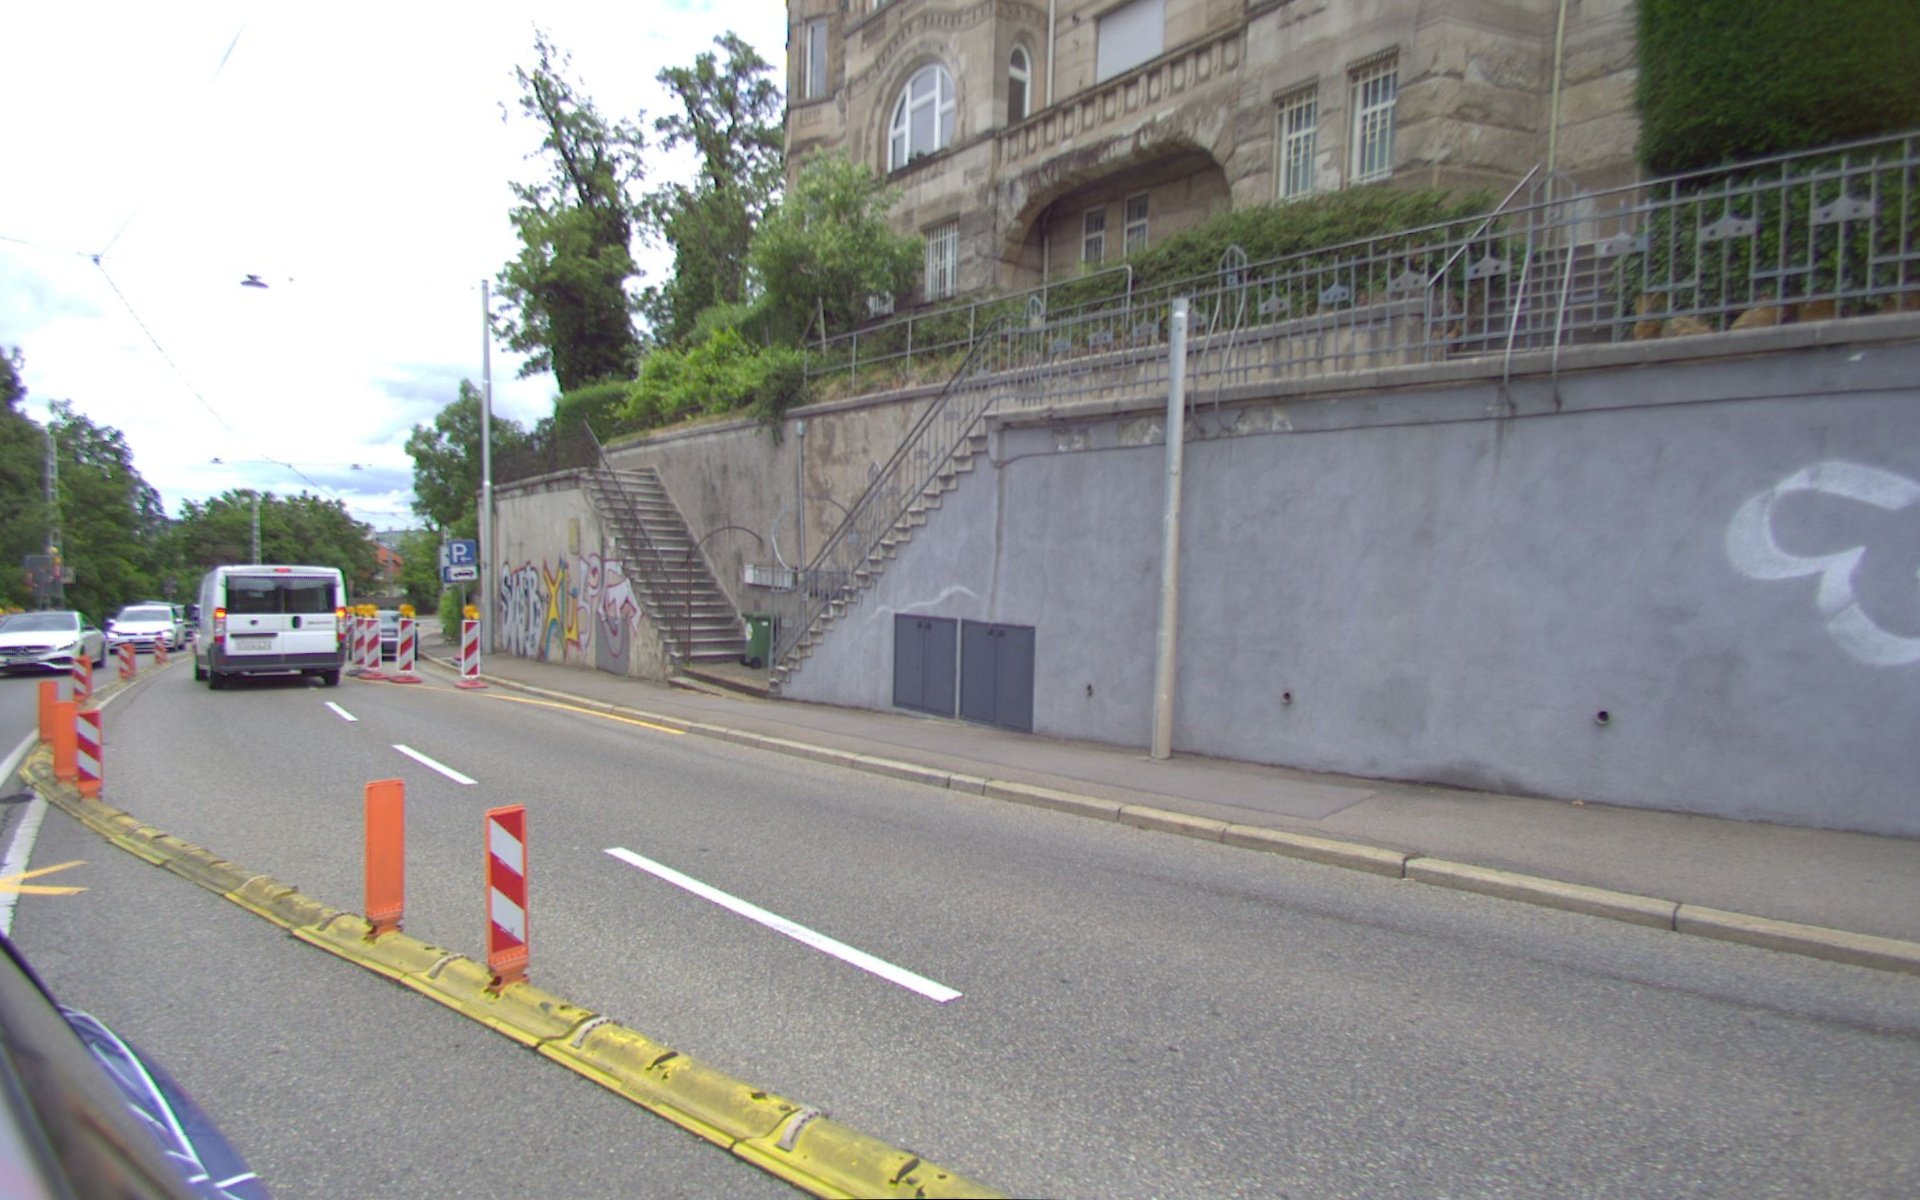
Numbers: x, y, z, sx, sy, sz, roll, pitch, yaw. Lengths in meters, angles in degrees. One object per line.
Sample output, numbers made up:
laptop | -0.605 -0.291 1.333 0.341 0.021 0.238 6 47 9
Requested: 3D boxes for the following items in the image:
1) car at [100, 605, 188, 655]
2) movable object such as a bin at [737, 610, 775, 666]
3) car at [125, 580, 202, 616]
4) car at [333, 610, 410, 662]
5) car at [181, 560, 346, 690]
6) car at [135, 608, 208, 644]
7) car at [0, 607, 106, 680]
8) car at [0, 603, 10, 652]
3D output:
car | -27.404 0.977 34.104 1.763 1.563 4.257 0 -1 -31
movable object such as a bin | -3.419 0.628 16.961 0.447 0.918 0.509 -1 0 -37
car | -42.238 -0.086 53.787 1.827 1.686 4.293 6 -2 -20
car | -17.229 1.015 29.574 1.774 1.383 4.401 2 -2 -31
car | -13.680 0.479 19.750 2.042 2.204 4.969 2 -2 -41
car | -35.524 1.154 45.722 1.769 1.522 4.013 2 -1 -26
car | -21.014 0.933 23.096 1.763 1.491 4.257 -1 0 -32
car | -33.321 0.892 33.422 1.836 1.686 4.659 6 -3 -32
